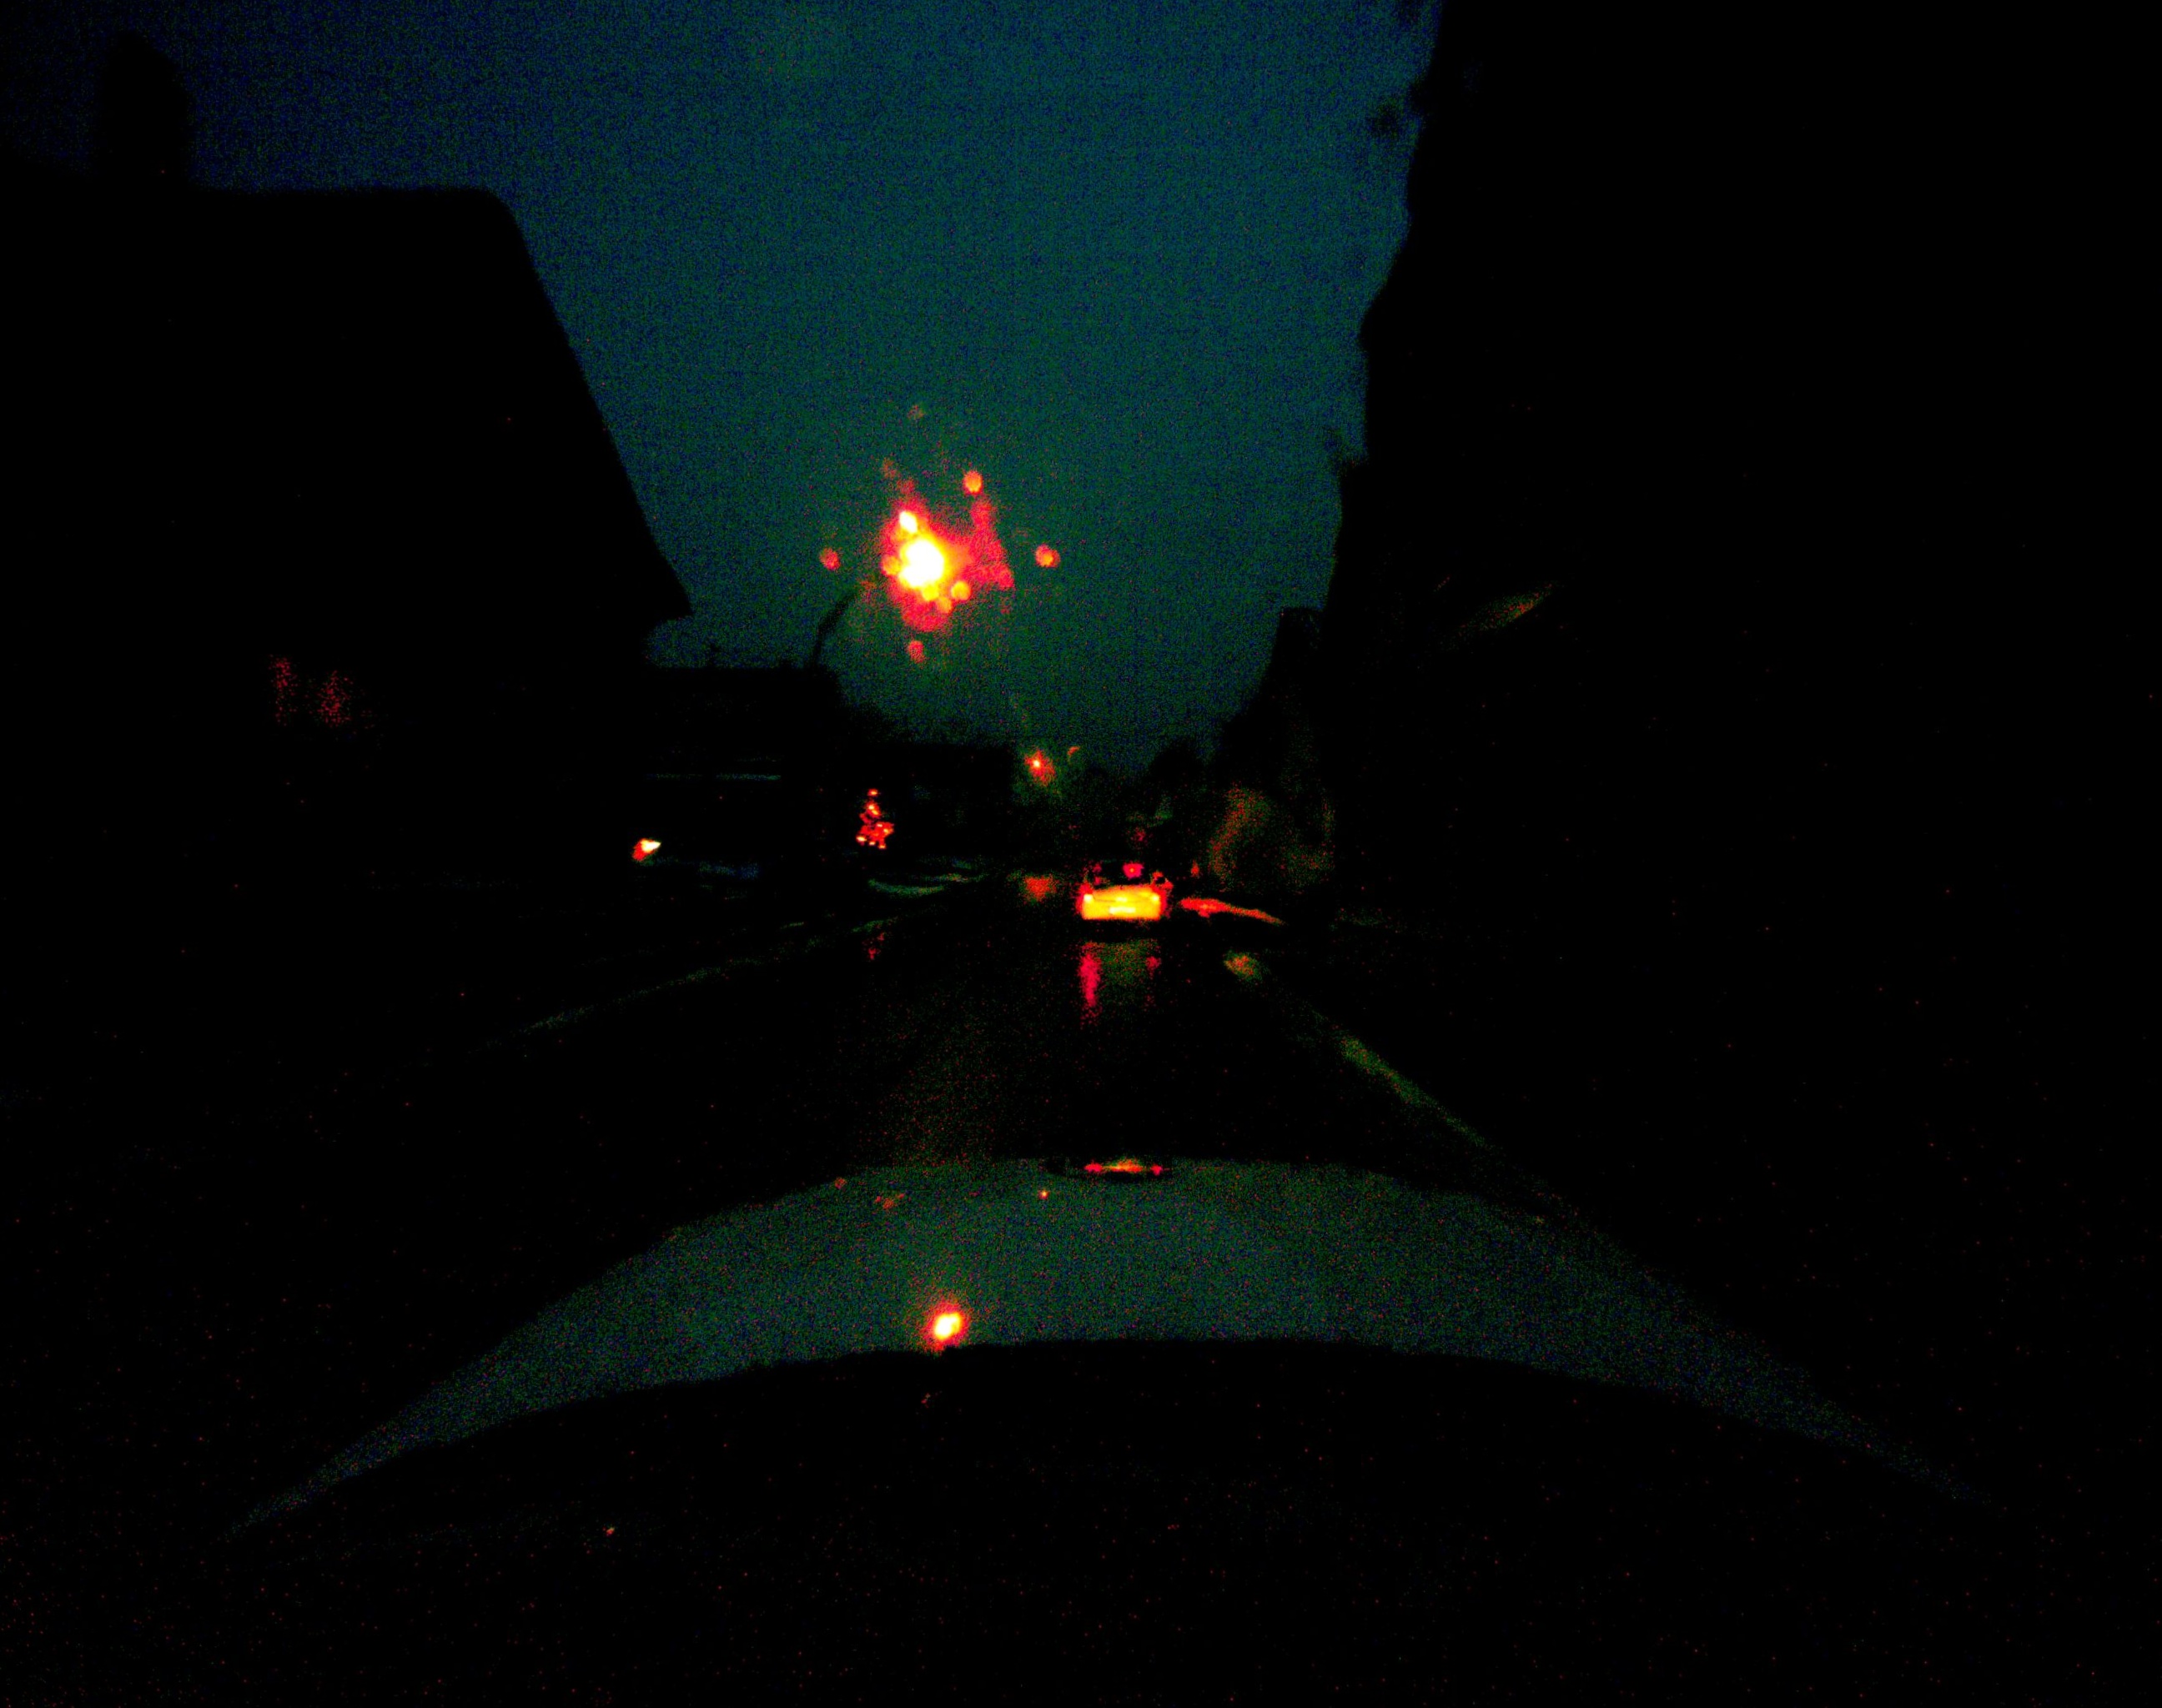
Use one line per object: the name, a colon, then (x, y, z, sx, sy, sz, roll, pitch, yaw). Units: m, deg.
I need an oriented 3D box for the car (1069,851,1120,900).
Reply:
car: (0.418, 0.725, 28.596, 1.640, 1.596, 3.698, 1, -1, -1)

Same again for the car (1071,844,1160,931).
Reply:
car: (0.700, 0.651, 17.170, 1.639, 1.596, 3.700, 1, -1, 2)
